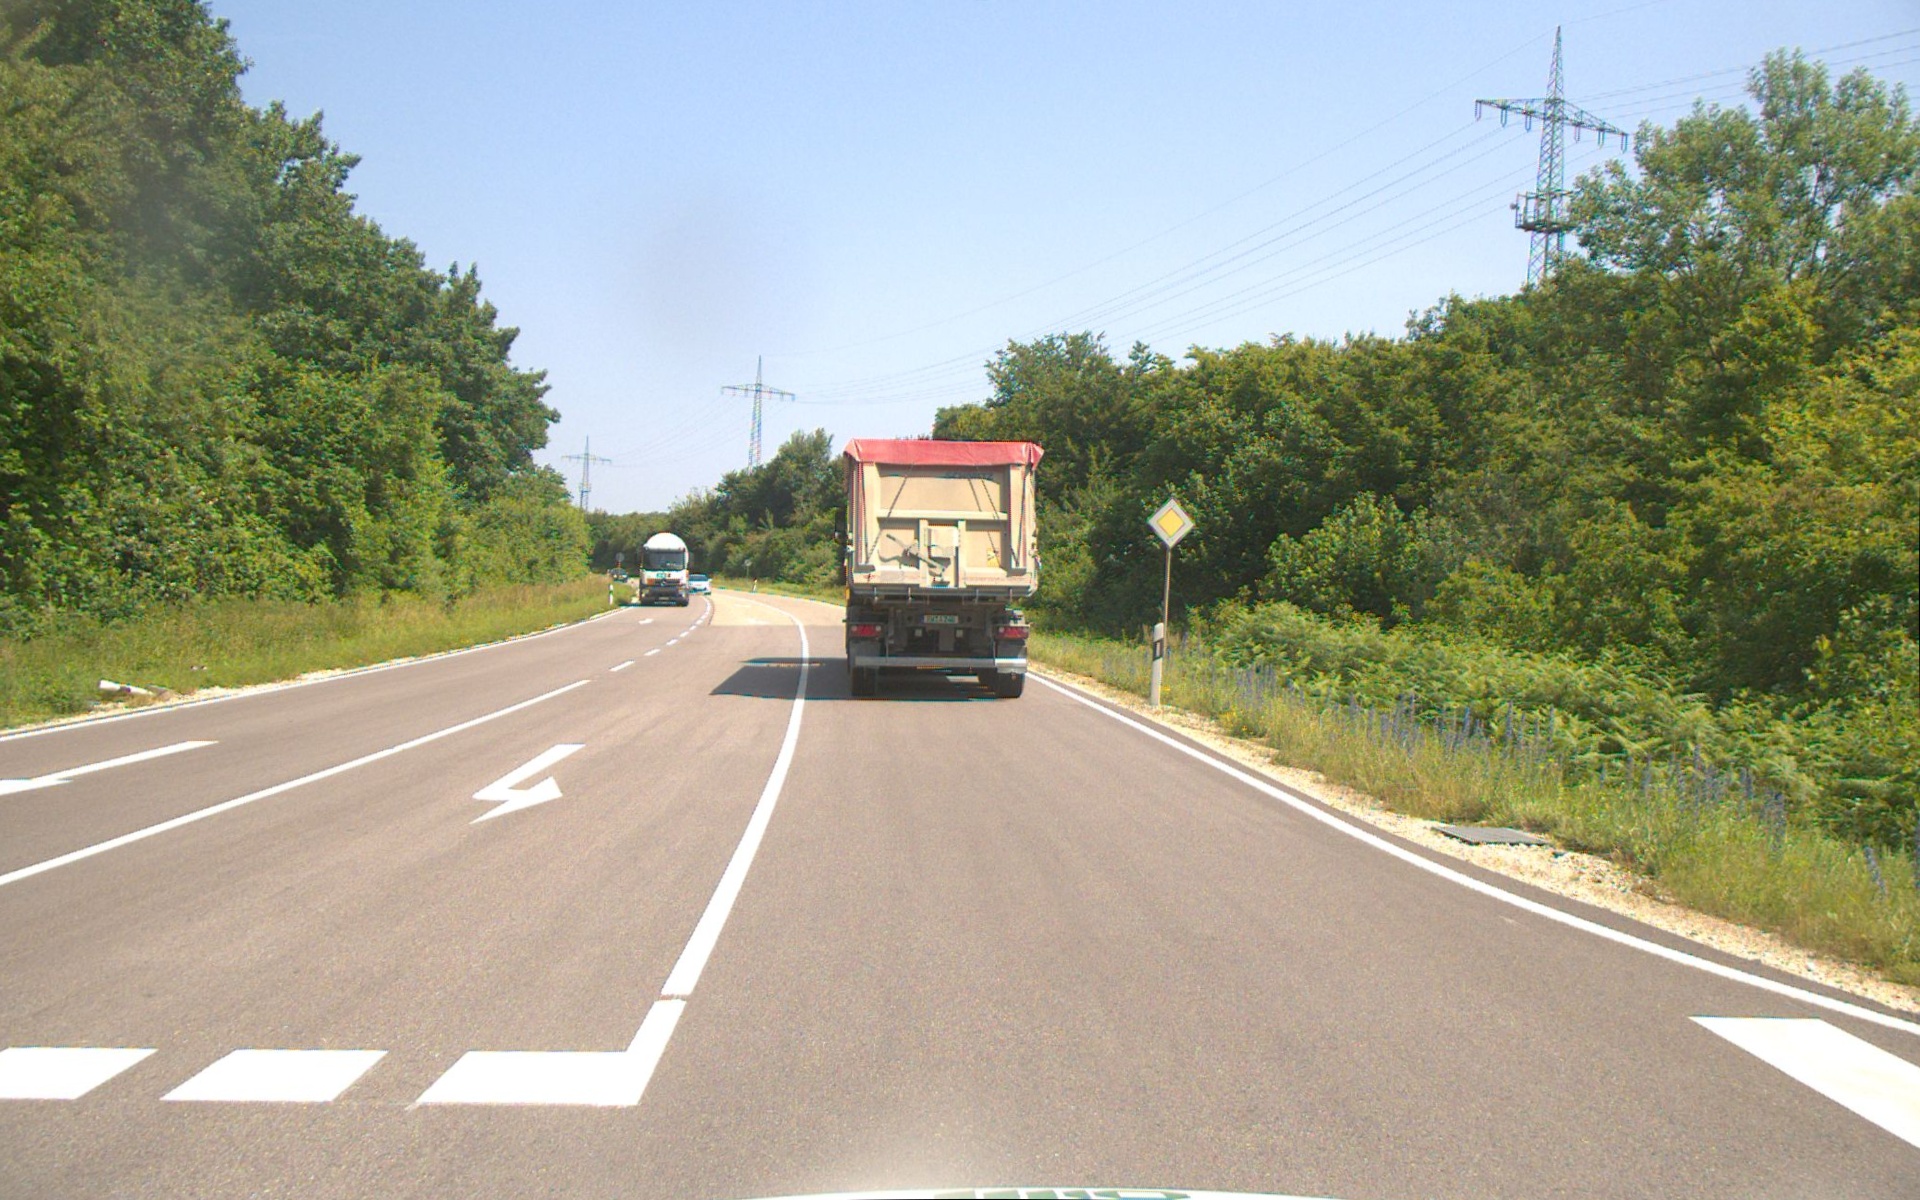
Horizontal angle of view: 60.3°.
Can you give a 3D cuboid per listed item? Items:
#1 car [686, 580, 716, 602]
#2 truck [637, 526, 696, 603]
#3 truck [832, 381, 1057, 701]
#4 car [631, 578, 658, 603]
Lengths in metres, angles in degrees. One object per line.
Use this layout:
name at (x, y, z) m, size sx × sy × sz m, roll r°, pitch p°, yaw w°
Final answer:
car at (-18.460, -0.630, 118.104) m, size 1.674 × 1.444 × 4.095 m, roll 1°, pitch 0°, yaw -3°
truck at (-15.178, -1.781, 85.984) m, size 2.577 × 3.735 × 8.782 m, roll 1°, pitch 0°, yaw -7°
truck at (-0.592, -0.801, 27.057) m, size 2.836 × 4.031 × 11.923 m, roll 1°, pitch 0°, yaw -4°
car at (-24.242, -0.710, 127.142) m, size 1.808 × 1.810 × 4.883 m, roll 1°, pitch 0°, yaw -9°
